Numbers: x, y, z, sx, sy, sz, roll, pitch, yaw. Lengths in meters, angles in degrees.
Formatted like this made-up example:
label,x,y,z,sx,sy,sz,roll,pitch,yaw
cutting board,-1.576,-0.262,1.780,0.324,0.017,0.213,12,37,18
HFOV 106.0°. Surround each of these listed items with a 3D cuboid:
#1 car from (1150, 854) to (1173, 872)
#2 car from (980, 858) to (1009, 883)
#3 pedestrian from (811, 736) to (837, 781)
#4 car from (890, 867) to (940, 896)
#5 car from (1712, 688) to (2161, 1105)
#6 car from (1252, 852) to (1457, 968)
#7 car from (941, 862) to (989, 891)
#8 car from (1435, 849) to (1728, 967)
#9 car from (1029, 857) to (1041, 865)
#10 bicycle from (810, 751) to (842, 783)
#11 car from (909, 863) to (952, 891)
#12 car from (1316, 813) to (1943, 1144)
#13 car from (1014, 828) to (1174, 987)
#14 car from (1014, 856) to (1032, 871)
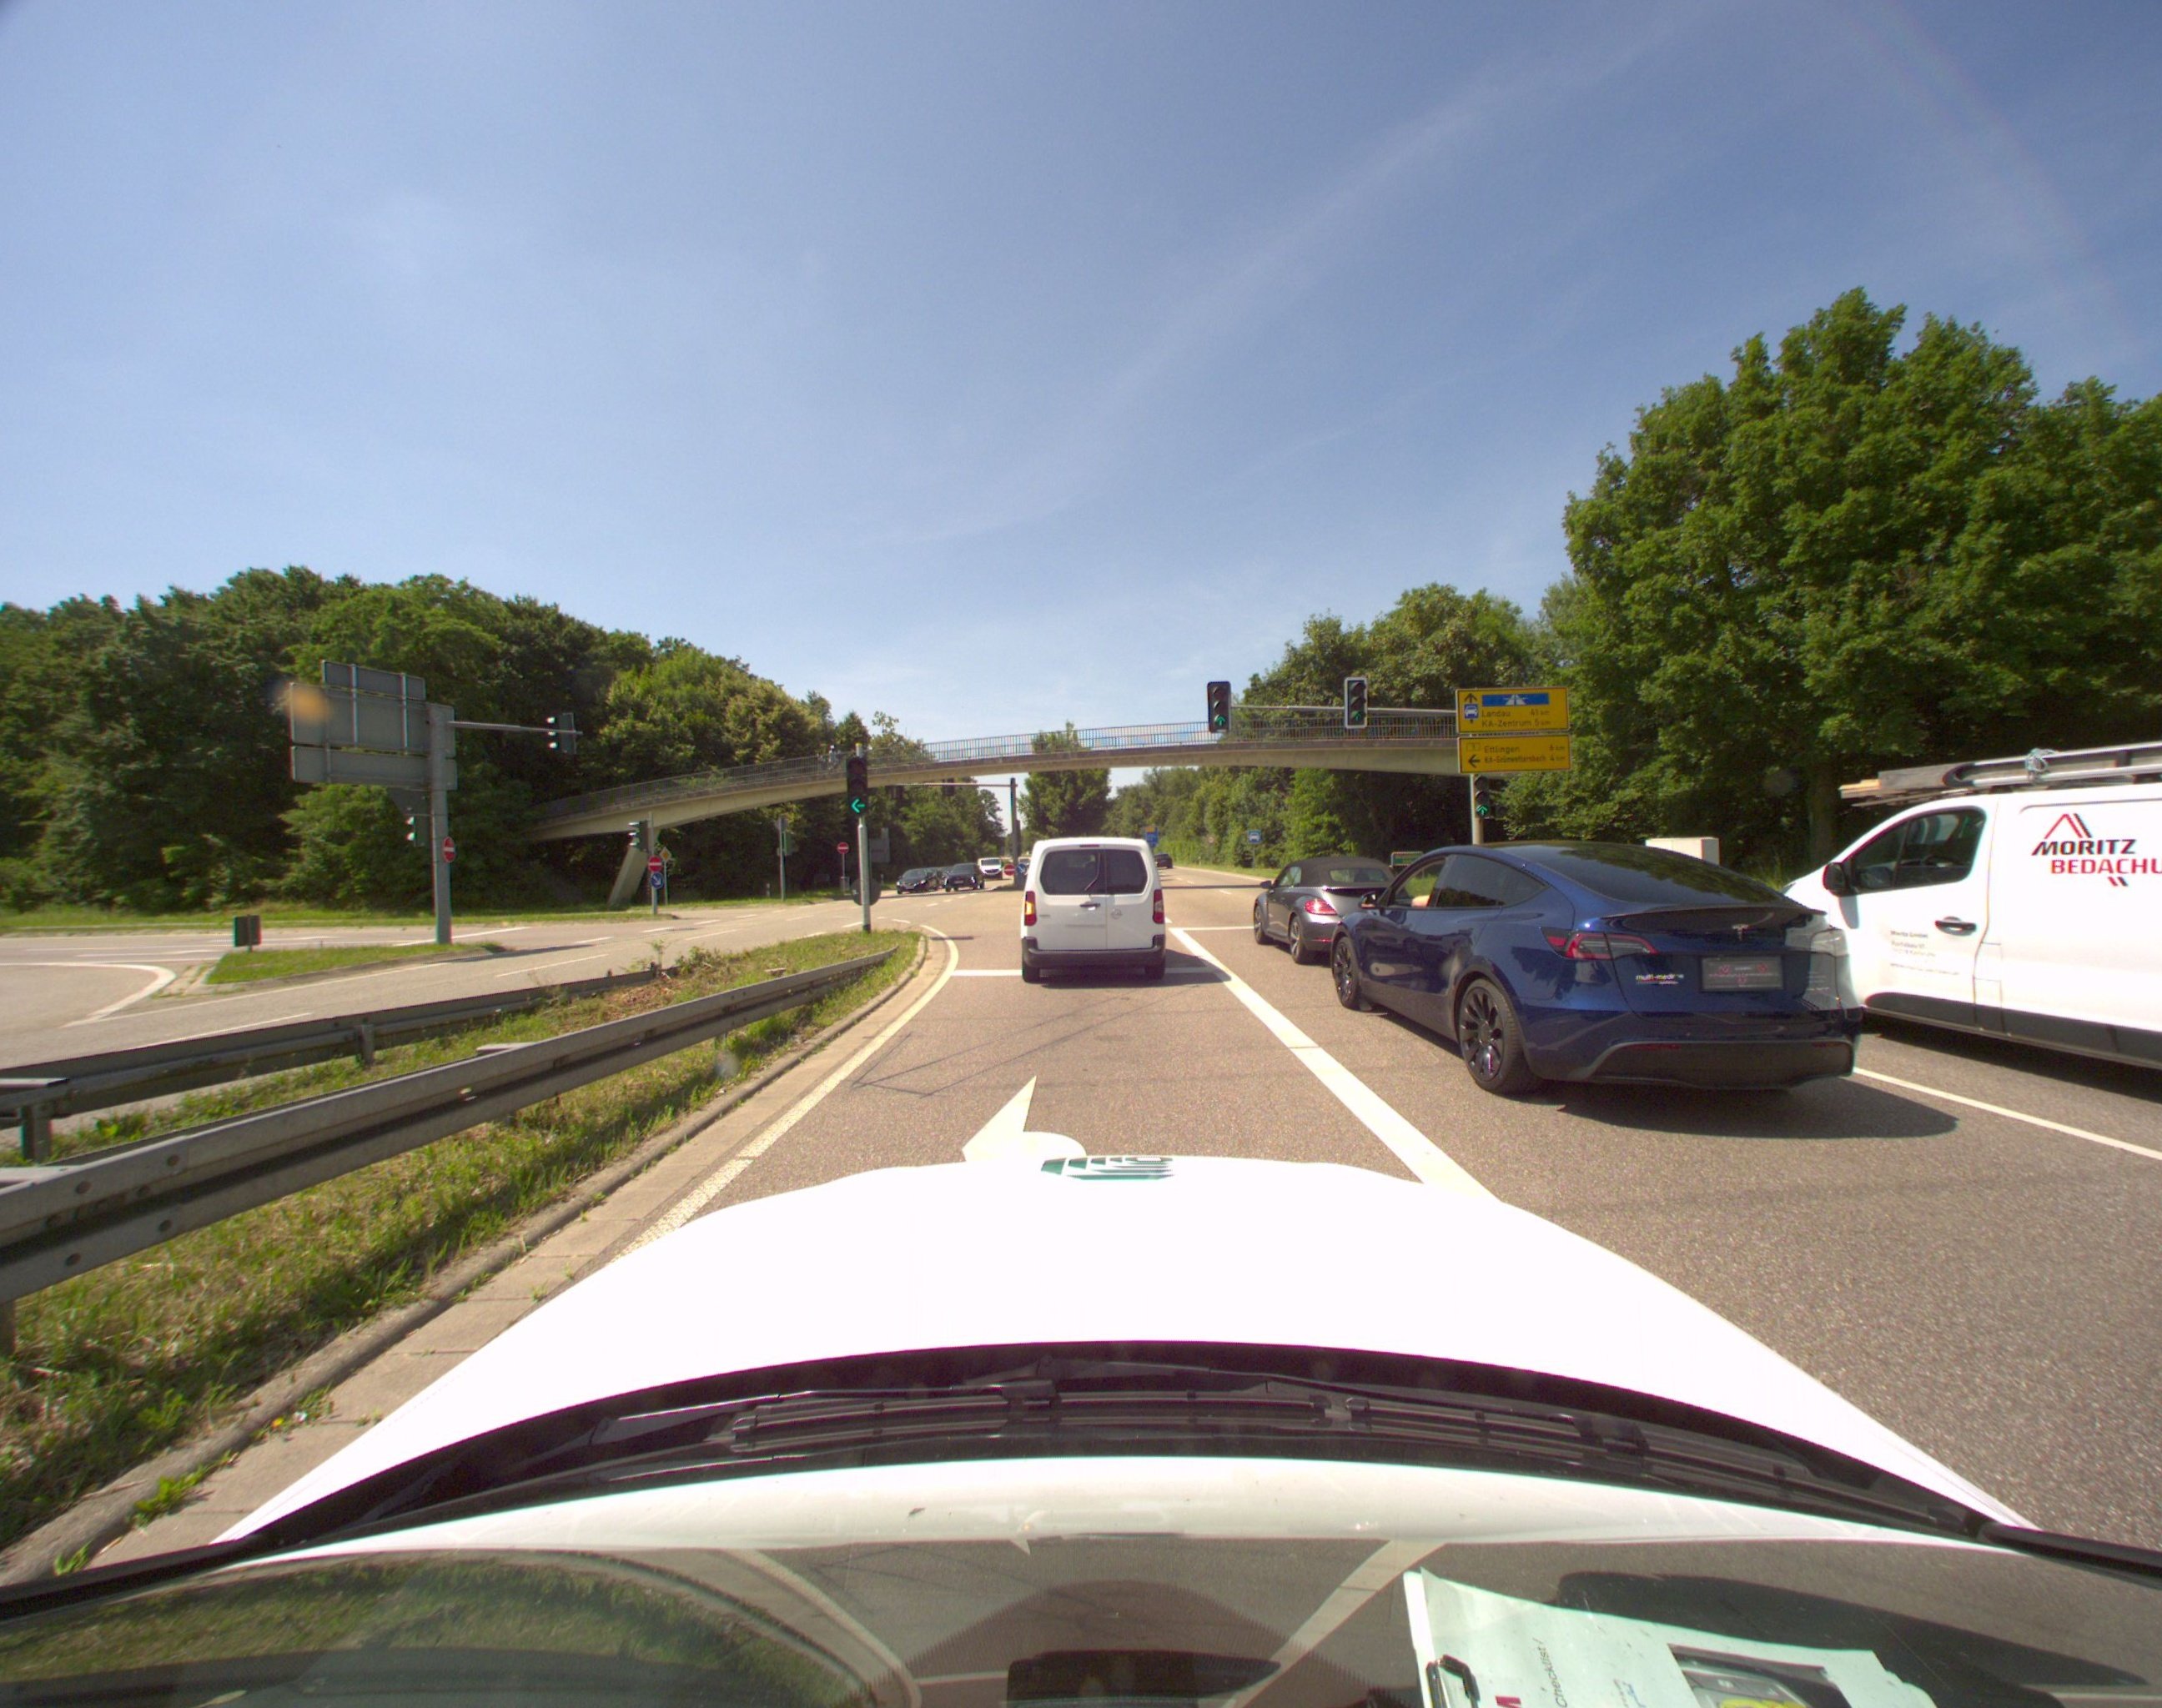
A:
label,x,y,z,sx,sy,sz,roll,pitch,yaw
car,8.374,0.898,84.641,2.034,1.699,5.089,-2,0,2
car,-7.420,1.409,70.457,2.204,1.993,5.480,-3,0,-4
pedestrian,-13.205,-4.885,41.915,0.776,2.140,0.936,-4,-2,17
car,-9.866,1.608,48.769,2.001,1.460,4.056,-4,0,1
car,7.069,0.235,5.380,1.926,2.349,5.076,-1,0,1
car,3.916,0.722,12.409,1.893,1.478,3.940,-1,0,1
car,-6.526,1.239,46.256,1.986,1.523,4.029,-2,0,1
car,7.302,0.693,12.521,1.893,1.478,4.382,-1,0,1
car,-9.310,1.427,165.191,2.001,1.601,4.056,-4,0,1
bicycle,-12.989,-4.426,41.482,1.515,1.474,0.472,-4,-2,17
car,-10.198,1.529,55.529,1.986,1.665,4.001,-3,0,1
car,3.423,0.631,6.374,1.894,1.644,4.520,-1,0,0
car,0.179,0.600,11.451,1.843,1.825,3.981,-1,0,1
car,-8.687,1.420,121.916,2.200,1.993,4.735,-4,0,1
